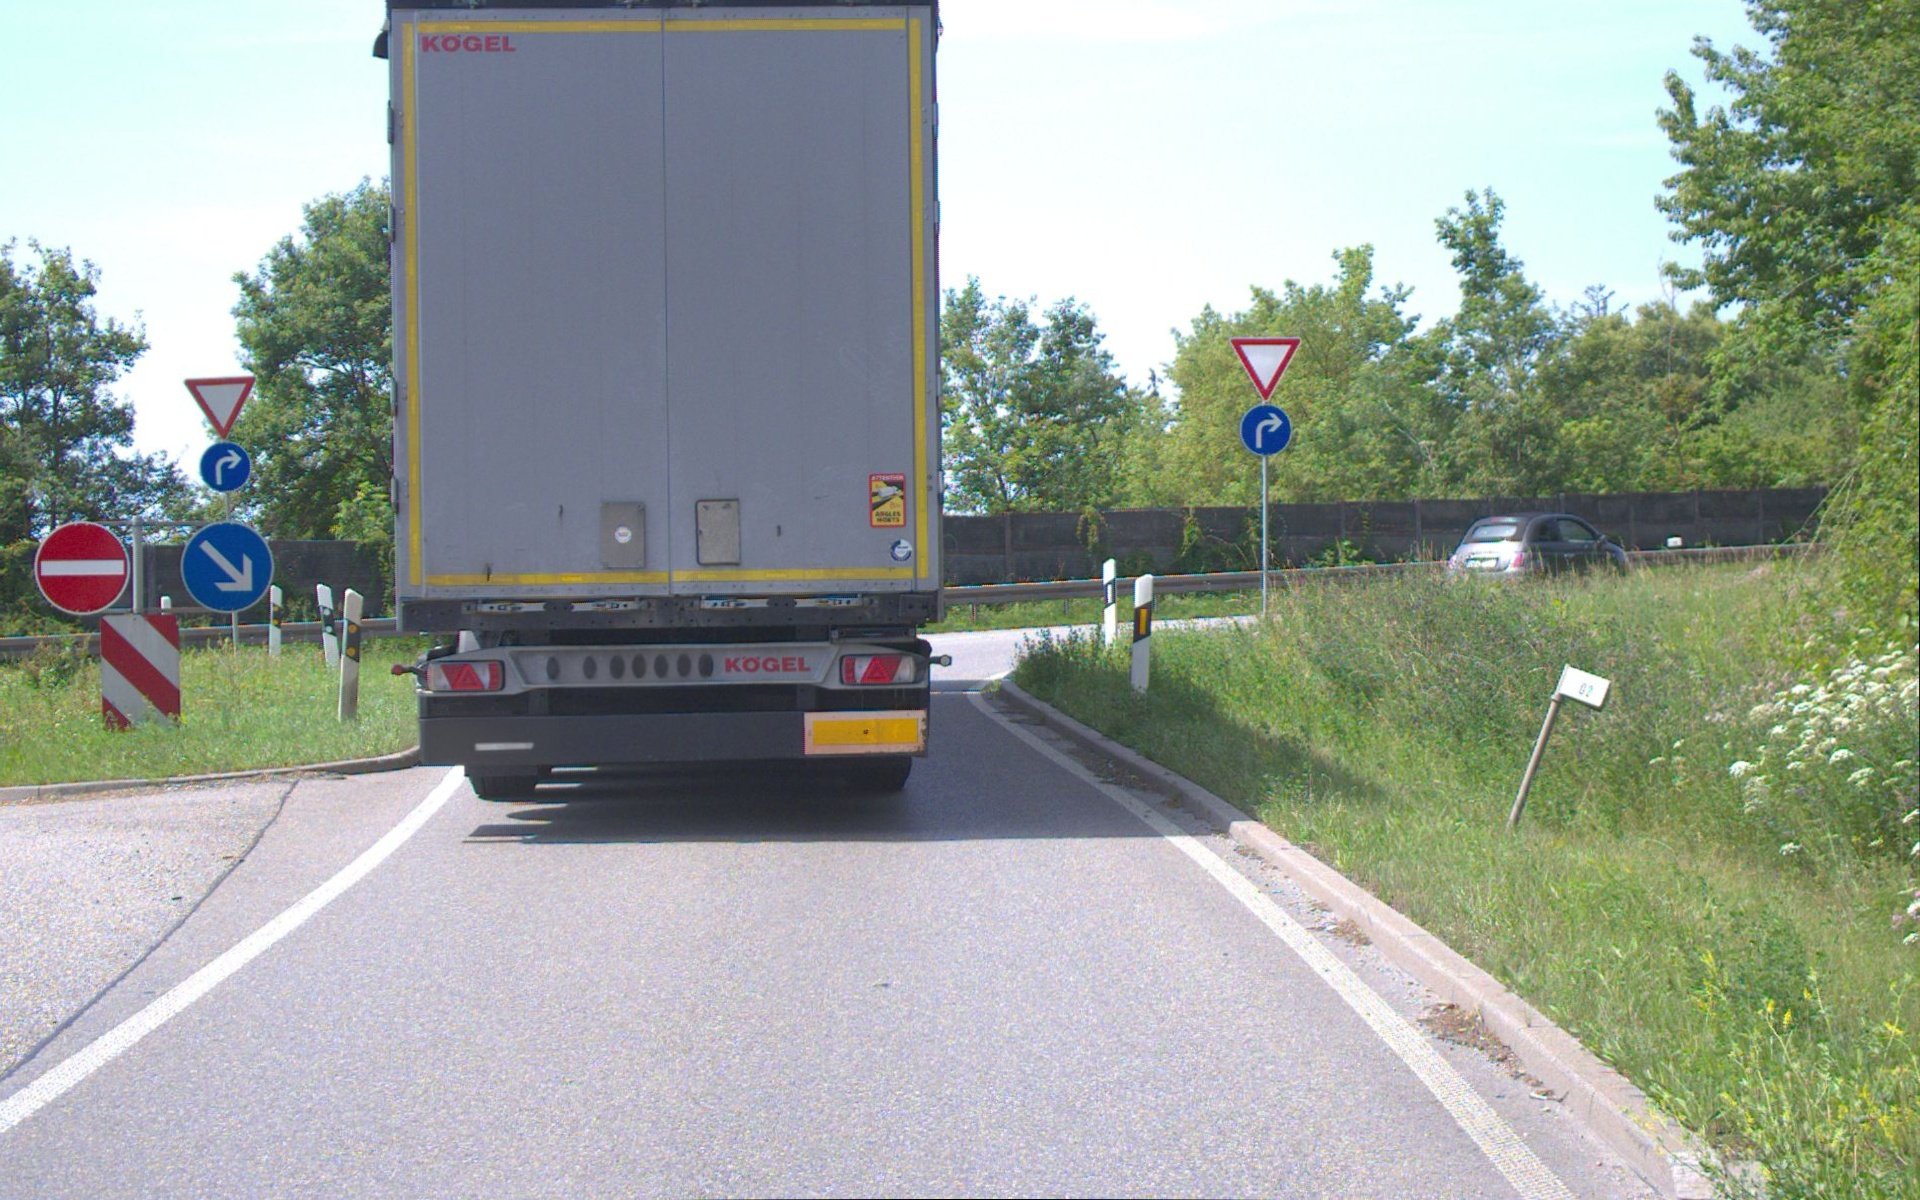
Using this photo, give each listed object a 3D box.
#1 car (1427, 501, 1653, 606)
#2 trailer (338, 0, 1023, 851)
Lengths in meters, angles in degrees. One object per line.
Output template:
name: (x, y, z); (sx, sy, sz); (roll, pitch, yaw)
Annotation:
car: (8.969, -0.735, 52.974); (1.670, 1.481, 3.991); (-1, 2, 39)
trailer: (-1.636, -1.051, 22.313); (3.026, 4.020, 13.354); (-1, 1, -3)
